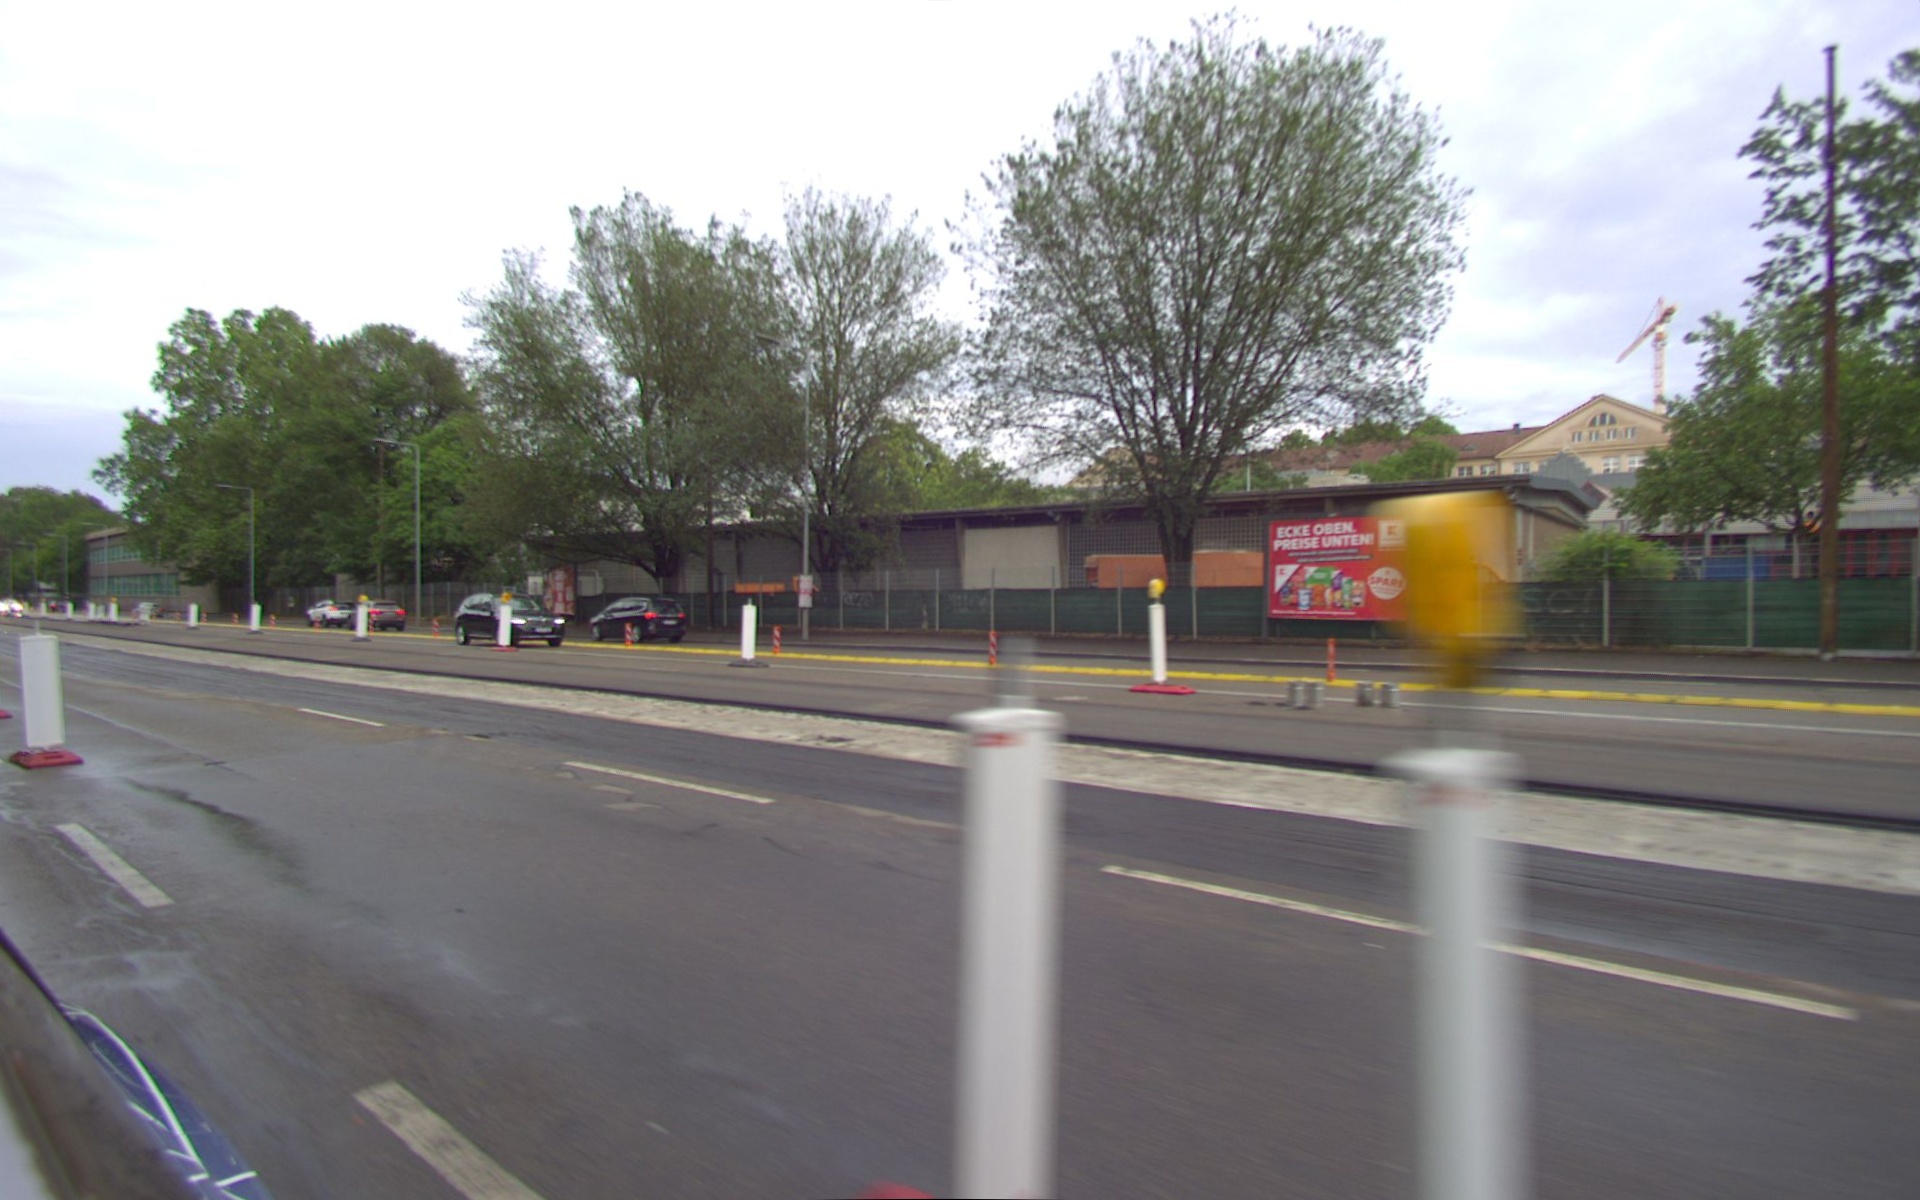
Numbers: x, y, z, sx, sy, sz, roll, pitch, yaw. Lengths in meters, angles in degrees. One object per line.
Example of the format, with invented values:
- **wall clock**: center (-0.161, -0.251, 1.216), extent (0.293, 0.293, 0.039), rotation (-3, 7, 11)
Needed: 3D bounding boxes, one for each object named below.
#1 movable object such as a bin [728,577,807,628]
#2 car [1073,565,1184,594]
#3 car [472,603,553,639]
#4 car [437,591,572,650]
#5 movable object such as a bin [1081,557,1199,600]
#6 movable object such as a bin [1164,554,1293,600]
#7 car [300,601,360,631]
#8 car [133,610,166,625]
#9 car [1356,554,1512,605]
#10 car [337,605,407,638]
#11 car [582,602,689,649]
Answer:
- **movable object such as a bin**: center (-10.062, 0.129, 53.062), extent (3.958, 2.631, 1.757), rotation (0, 0, -9)
- **car**: center (6.581, -0.782, 39.848), extent (3.961, 1.070, 1.756), rotation (-1, 0, -6)
- **car**: center (-19.801, 0.921, 44.718), extent (3.730, 1.487, 1.839), rotation (-1, -2, 41)
- **car**: center (-14.425, 0.693, 31.943), extent (4.981, 1.719, 1.973), rotation (-2, -4, 41)
- **movable object such as a bin**: center (6.682, -0.791, 37.713), extent (3.961, 1.539, 1.756), rotation (-1, 0, -6)
- **movable object such as a bin**: center (9.331, -0.777, 35.301), extent (3.957, 1.539, 1.757), rotation (0, 0, -11)
- **car**: center (-37.437, 0.939, 60.131), extent (4.363, 1.719, 1.839), rotation (-1, -2, 41)
- **car**: center (-75.078, 1.570, 93.704), extent (4.453, 1.325, 1.649), rotation (0, -2, 42)
- **car**: center (14.777, -0.630, 31.651), extent (3.957, 1.539, 2.005), rotation (0, 0, -11)
- **car**: center (-30.893, 1.124, 53.144), extent (4.363, 1.631, 1.839), rotation (-1, -2, 41)
- **car**: center (-12.118, 0.936, 37.685), extent (4.327, 1.642, 1.839), rotation (-1, -2, 41)
